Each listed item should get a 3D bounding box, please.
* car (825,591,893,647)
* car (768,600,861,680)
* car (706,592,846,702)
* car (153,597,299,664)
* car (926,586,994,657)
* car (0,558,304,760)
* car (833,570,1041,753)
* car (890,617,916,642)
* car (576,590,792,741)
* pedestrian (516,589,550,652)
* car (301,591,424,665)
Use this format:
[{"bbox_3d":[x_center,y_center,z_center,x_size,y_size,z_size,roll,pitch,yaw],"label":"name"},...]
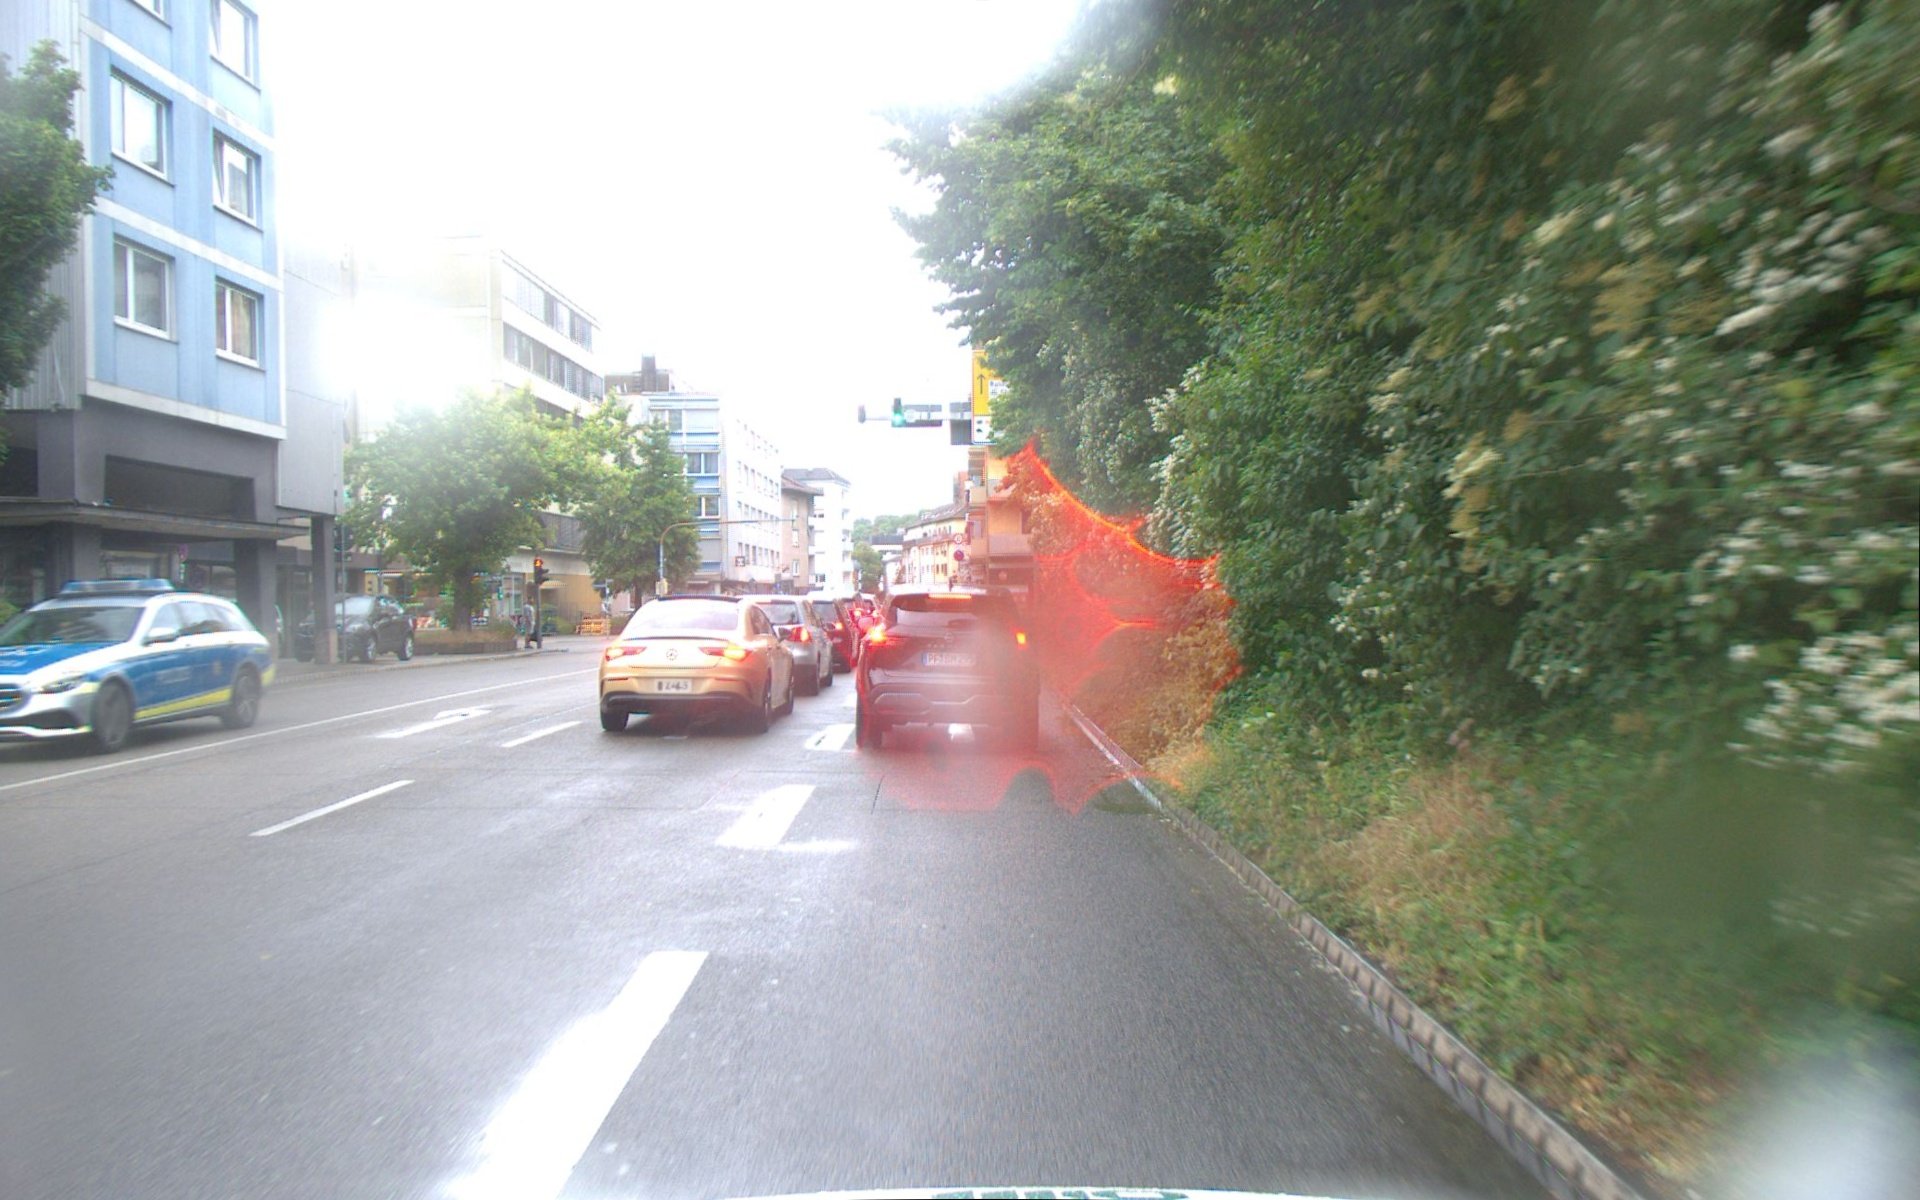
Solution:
[{"bbox_3d":[-2.833,0.511,47.223,1.731,1.469,3.999,-1,0,-1],"label":"car"},{"bbox_3d":[-2.831,0.744,32.852,1.580,1.445,3.966,-1,0,-1],"label":"car"},{"bbox_3d":[-2.748,0.662,25.563,1.708,1.513,4.161,-2,0,-1],"label":"car"},{"bbox_3d":[-19.484,0.776,44.126,1.953,1.684,4.510,-1,0,-1],"label":"car"},{"bbox_3d":[-0.017,0.613,50.766,1.953,2.049,4.000,-1,0,0],"label":"car"},{"bbox_3d":[-8.763,0.540,17.187,1.953,1.780,4.807,-2,0,0],"label":"car"},{"bbox_3d":[-0.262,0.560,17.329,1.920,1.681,3.999,0,0,-2],"label":"car"},{"bbox_3d":[-4.969,2.576,145.428,1.952,2.048,4.000,-3,0,1],"label":"car"},{"bbox_3d":[-3.030,0.647,19.082,2.026,1.489,4.582,-1,0,-4],"label":"car"},{"bbox_3d":[-14.455,0.694,56.013,0.923,2.049,0.884,-2,0,-9],"label":"pedestrian"},{"bbox_3d":[-14.685,0.655,40.872,1.508,1.736,4.287,0,0,0],"label":"car"}]
